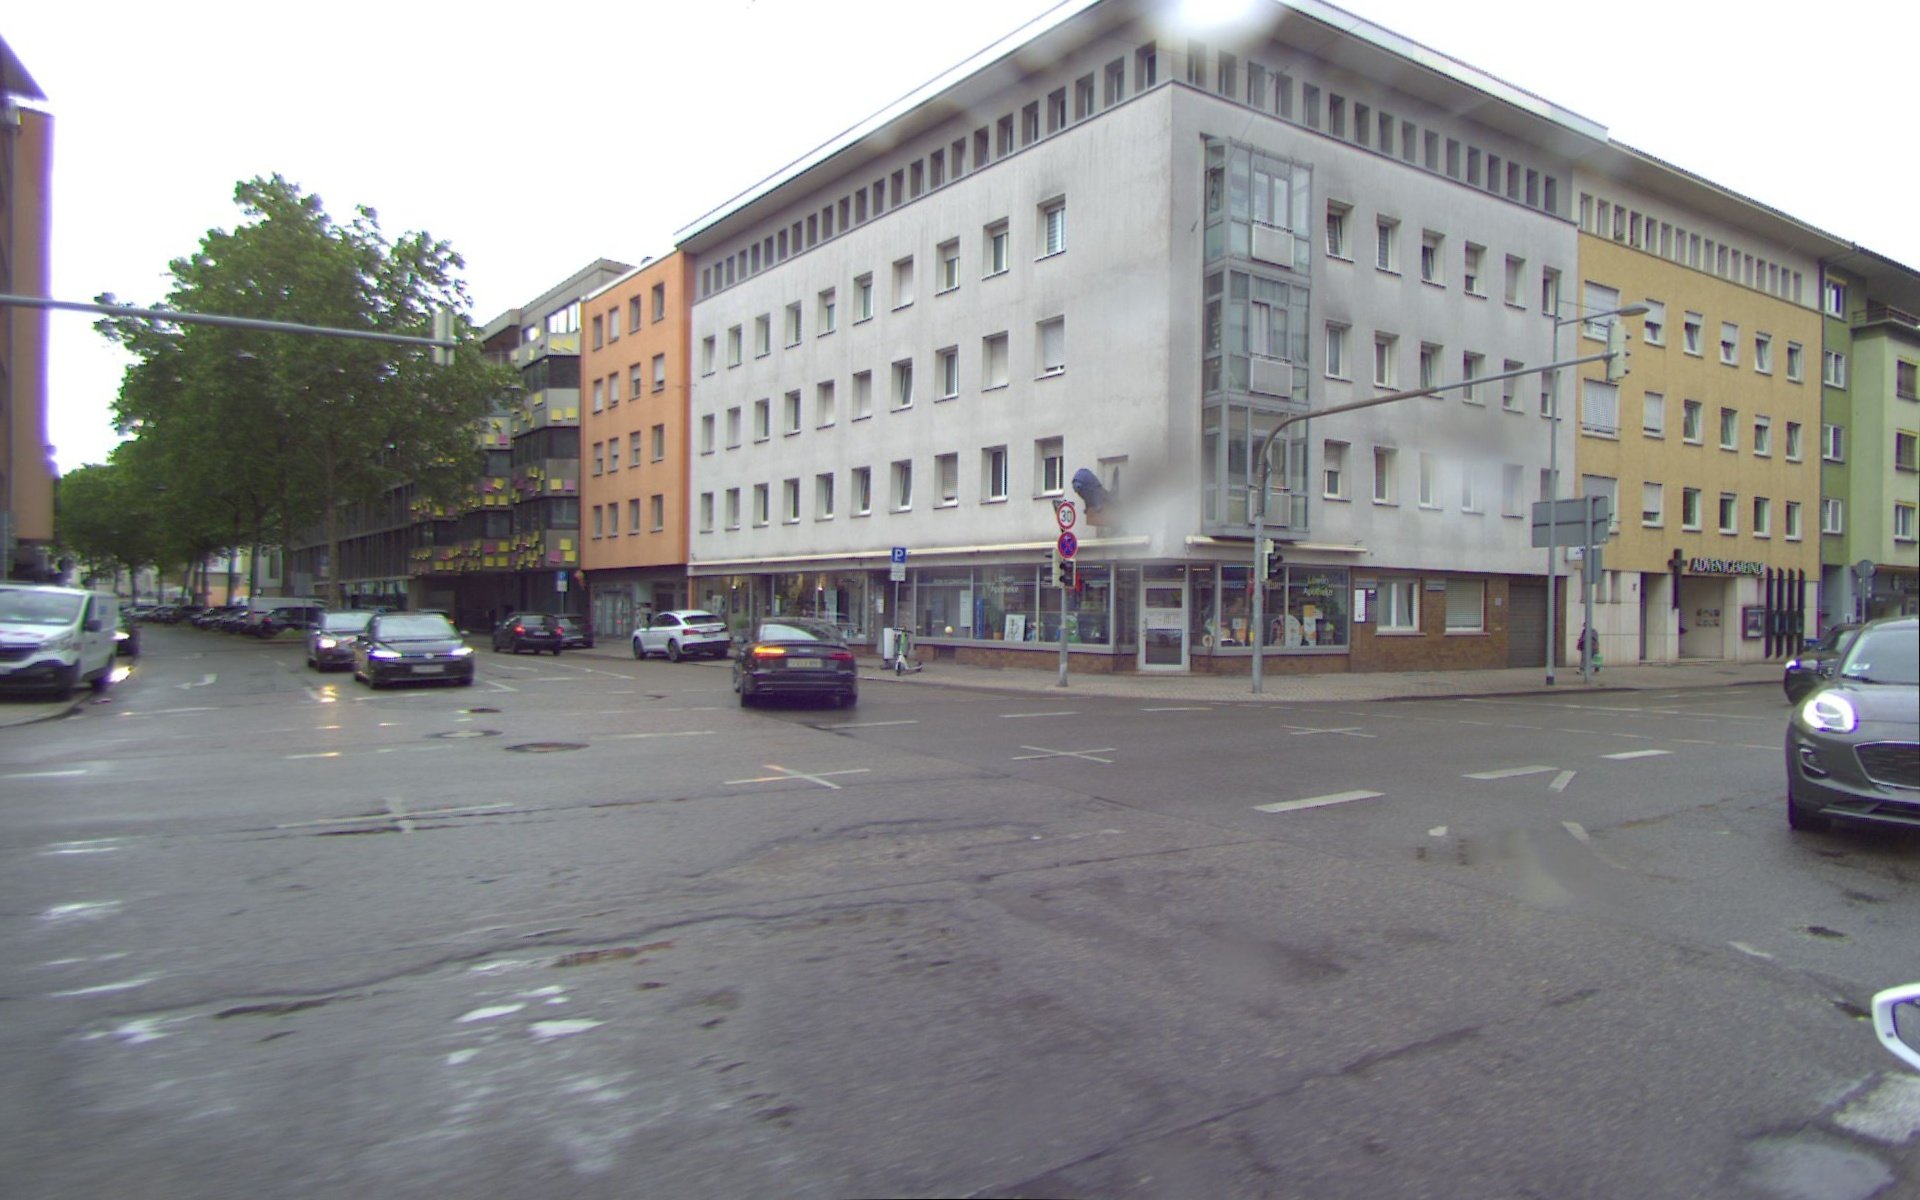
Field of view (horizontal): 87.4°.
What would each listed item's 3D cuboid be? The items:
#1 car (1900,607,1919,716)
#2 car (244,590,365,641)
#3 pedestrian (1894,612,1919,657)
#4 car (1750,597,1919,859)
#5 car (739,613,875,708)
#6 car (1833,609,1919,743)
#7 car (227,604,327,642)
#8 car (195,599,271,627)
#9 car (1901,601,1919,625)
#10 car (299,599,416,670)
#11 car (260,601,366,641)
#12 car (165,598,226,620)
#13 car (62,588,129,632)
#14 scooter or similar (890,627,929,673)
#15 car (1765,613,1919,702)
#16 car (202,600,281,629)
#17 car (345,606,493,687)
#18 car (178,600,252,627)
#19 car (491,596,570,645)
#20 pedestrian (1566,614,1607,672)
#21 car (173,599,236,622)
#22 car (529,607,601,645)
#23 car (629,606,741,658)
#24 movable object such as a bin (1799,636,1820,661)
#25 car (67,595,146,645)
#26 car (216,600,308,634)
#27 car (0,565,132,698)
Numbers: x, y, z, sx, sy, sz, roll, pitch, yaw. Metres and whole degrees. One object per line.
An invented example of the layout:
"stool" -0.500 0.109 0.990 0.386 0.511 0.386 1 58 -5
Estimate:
"car" 16.582 1.012 15.658 4.383 1.629 1.810 3 -2 -33
"car" -31.816 0.692 48.833 4.730 2.337 1.869 -1 3 -40
"pedestrian" 39.573 1.444 41.712 0.865 1.812 0.861 2 2 -30
"car" 7.351 0.802 7.433 4.198 1.573 1.838 1 -1 -44
"car" -2.771 0.962 17.306 1.966 1.406 4.488 1 -1 -13
"car" 12.898 0.964 12.730 4.096 1.547 1.921 3 -2 -36
"car" -34.146 1.123 50.270 3.967 1.684 1.869 -1 2 -40
"car" -48.009 0.841 66.376 3.967 1.684 1.869 -1 2 -40
"car" 74.287 1.061 76.315 1.862 1.757 3.804 1 2 -37
"car" -15.393 0.785 25.544 2.028 1.611 4.605 0 0 -38
"car" -30.049 0.951 46.678 3.967 1.684 1.869 -1 2 -40
"car" -63.962 0.757 84.049 3.969 1.684 1.868 -1 3 -41
"car" -33.664 0.366 39.098 1.829 1.510 4.209 5 -3 -42
"scooter or similar" -1.289 1.272 25.895 0.360 1.109 1.131 -1 1 36
"car" 18.639 1.172 20.797 4.326 1.661 1.810 3 -2 -33
"car" -45.519 0.895 63.664 3.967 1.684 1.869 -1 2 -40
"car" -11.036 0.852 20.354 2.027 1.394 4.294 0 0 -37
"car" -50.741 0.924 68.468 3.967 1.684 1.869 -1 2 -40
"car" -15.454 0.755 36.070 1.682 1.648 3.958 3 -2 -37
"pedestrian" 17.887 1.214 28.683 0.644 1.602 0.683 1 2 -29
"car" -62.075 0.851 82.569 3.969 1.684 1.868 -1 3 -41
"car" -16.928 1.088 43.000 1.836 1.491 3.794 2 -1 -38
"car" -9.481 1.059 34.452 2.031 1.653 4.287 2 -1 -42
"movable object such as a bin" 31.847 1.813 37.662 0.496 0.942 0.452 1 0 -29
"car" -28.695 0.647 33.725 1.829 1.510 4.209 5 -3 -42
"car" -37.888 0.910 54.543 3.967 1.684 1.869 -1 2 -40
"car" -16.754 0.503 18.222 2.025 2.130 4.822 4 -2 -33
